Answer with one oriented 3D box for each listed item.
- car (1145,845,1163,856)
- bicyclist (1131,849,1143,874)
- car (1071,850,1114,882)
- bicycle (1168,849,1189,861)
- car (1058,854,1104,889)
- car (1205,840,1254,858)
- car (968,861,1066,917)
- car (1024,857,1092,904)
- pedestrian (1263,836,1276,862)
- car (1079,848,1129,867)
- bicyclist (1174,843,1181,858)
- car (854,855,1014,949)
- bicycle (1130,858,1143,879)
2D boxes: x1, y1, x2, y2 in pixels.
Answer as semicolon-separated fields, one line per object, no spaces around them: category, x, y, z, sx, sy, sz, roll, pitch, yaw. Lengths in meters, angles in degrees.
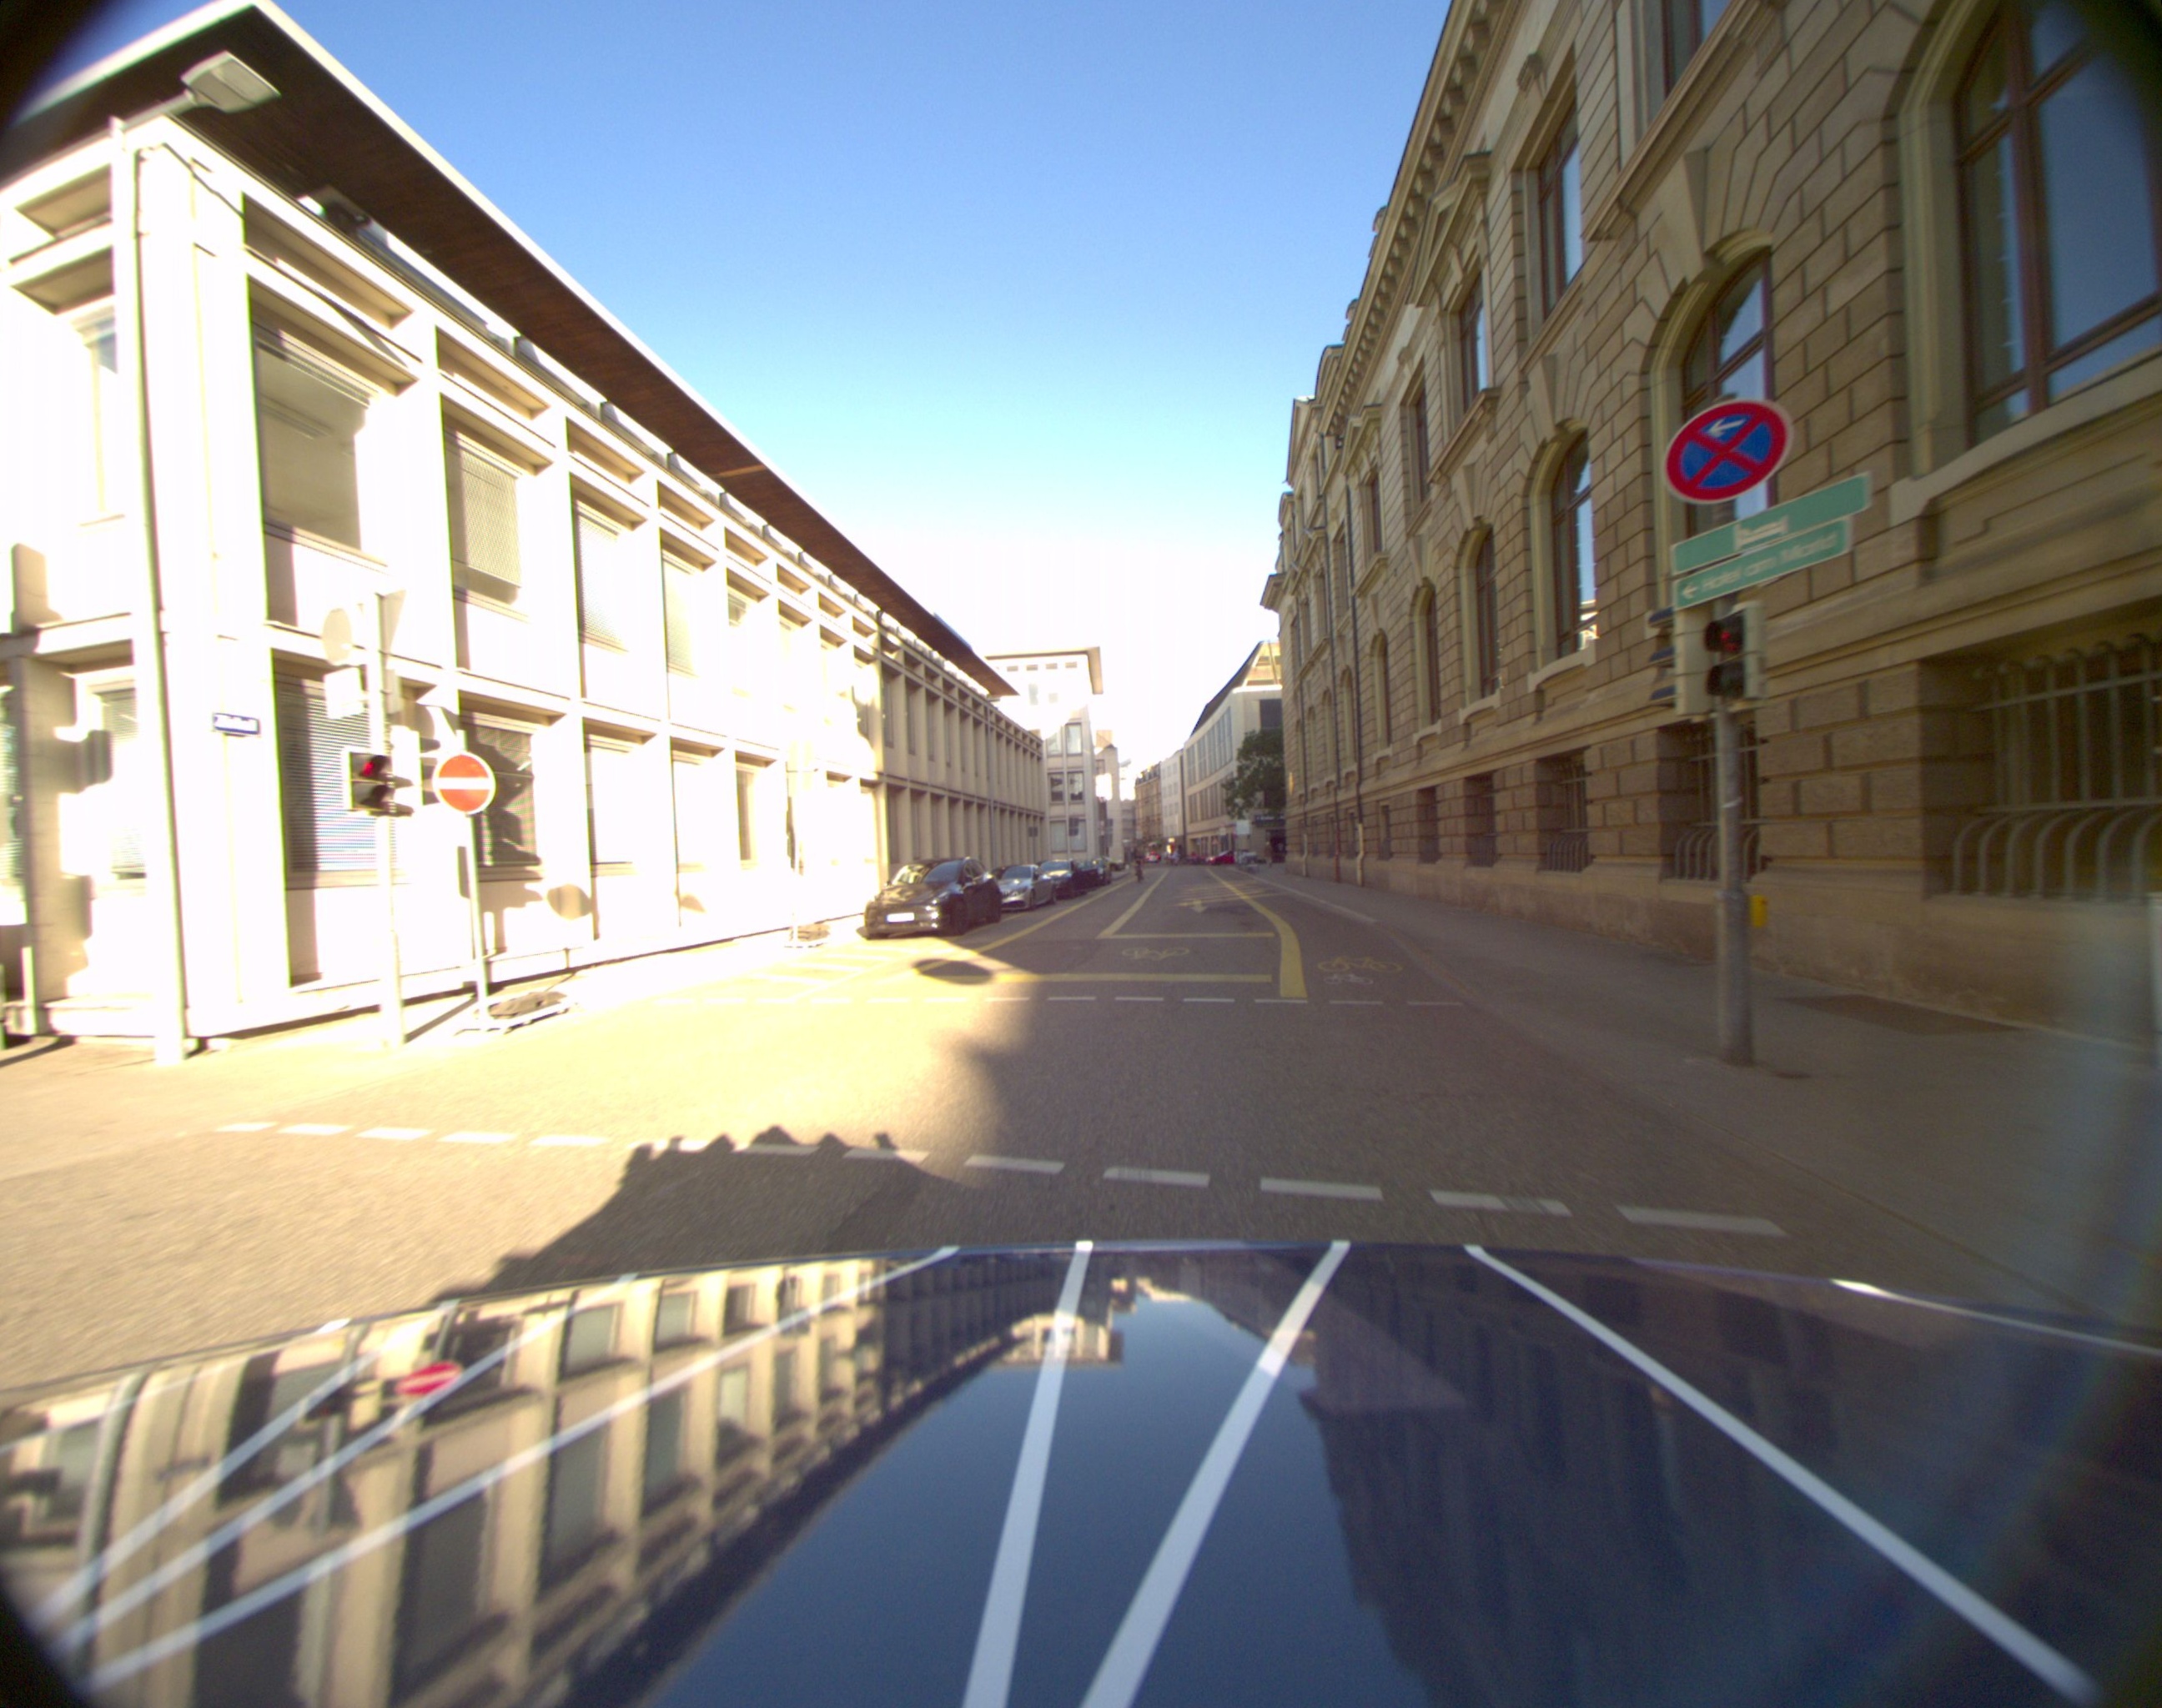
car;11.194;-0.568;117.015;2.054;1.482;4.270;-3;0;-3
bicyclist;3.005;0.418;40.398;0.538;1.281;0.551;-3;1;7
car;0.667;0.593;40.116;1.697;1.483;4.256;-3;0;7
bicycle;8.901;0.072;69.287;1.870;0.905;0.535;-3;4;9
car;0.062;0.750;35.184;1.631;1.391;3.888;-3;0;7
car;14.221;-0.448;72.761;4.270;1.462;1.632;-3;1;-4
car;-1.835;1.001;23.378;1.700;1.336;4.601;-3;0;11
car;-0.776;0.947;29.214;1.700;1.462;4.794;-3;0;8
pedestrian;13.153;-0.348;53.067;0.764;1.769;0.622;-3;1;9
car;2.099;0.340;69.644;4.248;1.483;1.857;-3;1;10
bicyclist;8.809;-0.321;69.271;0.612;1.281;0.538;-3;1;8
car;-3.020;0.931;16.734;1.897;1.614;4.624;-3;0;9
bicycle;2.953;0.750;40.319;0.535;1.060;1.426;-3;1;6
